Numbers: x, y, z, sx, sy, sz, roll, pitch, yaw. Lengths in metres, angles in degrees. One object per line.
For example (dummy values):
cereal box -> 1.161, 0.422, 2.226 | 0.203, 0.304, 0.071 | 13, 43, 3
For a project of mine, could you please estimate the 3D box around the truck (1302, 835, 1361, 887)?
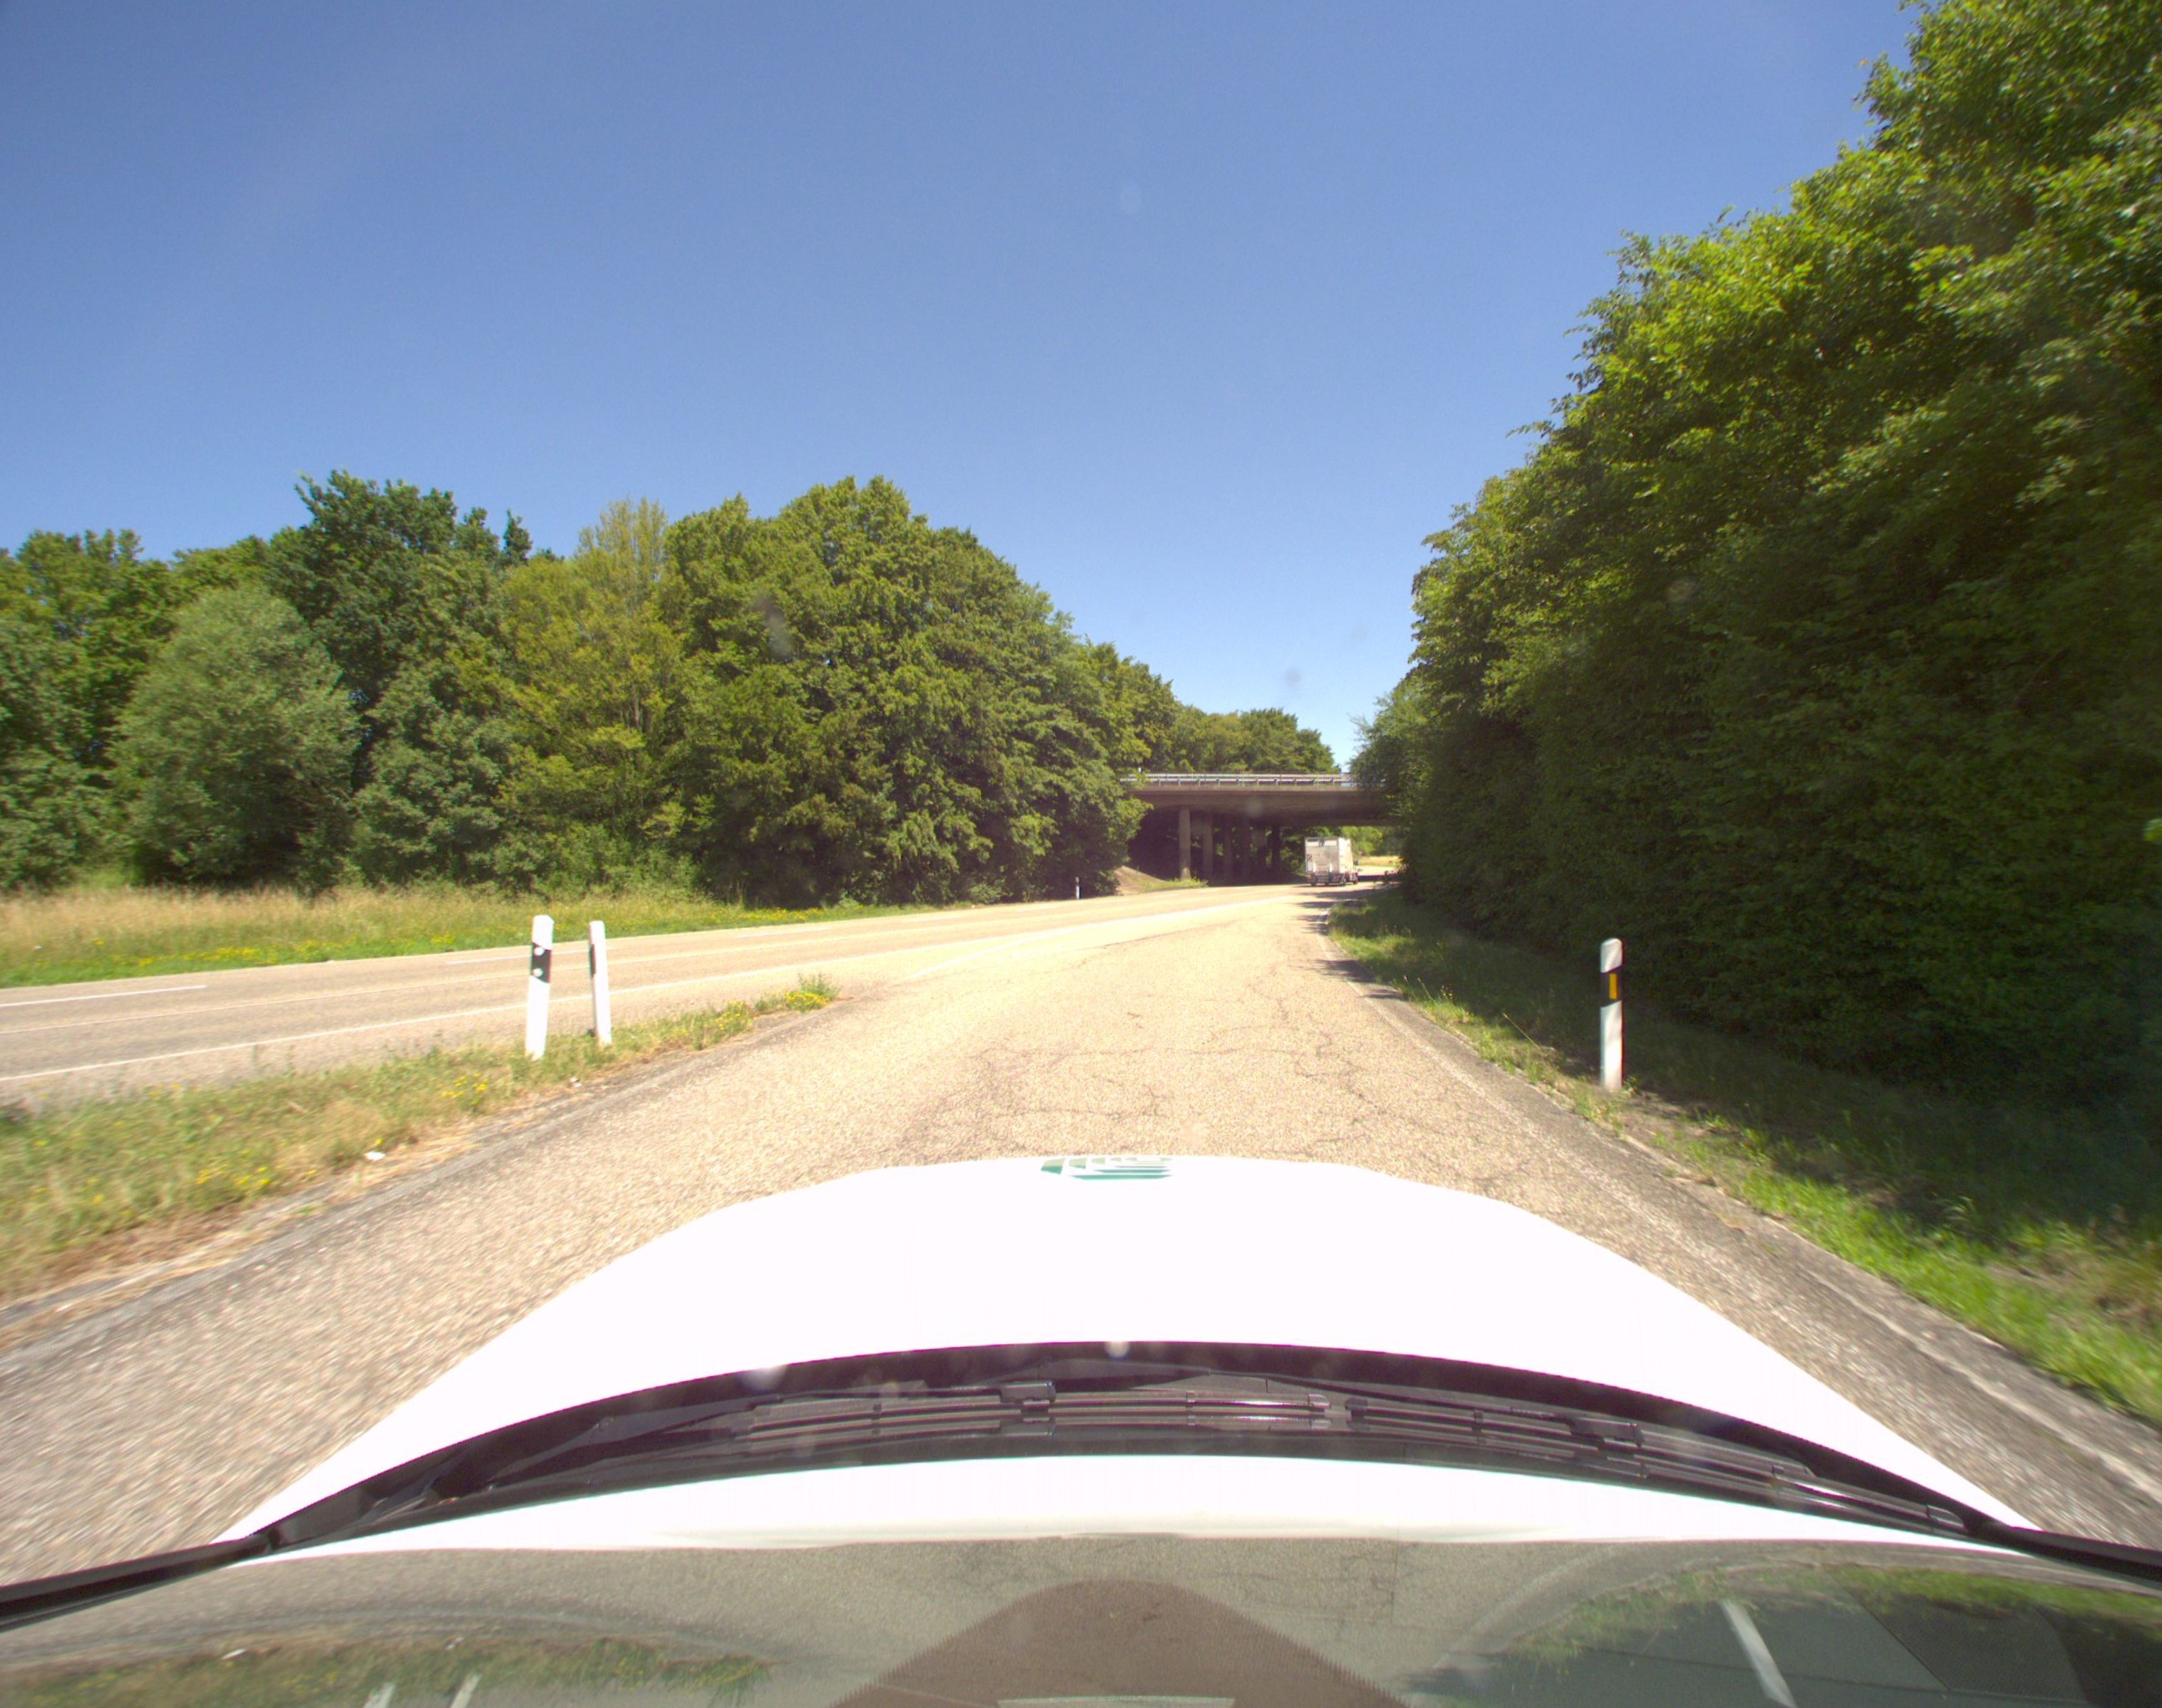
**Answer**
truck -> 15.599, 0.463, 50.461 | 2.219, 2.985, 5.930 | -2, -2, 30
